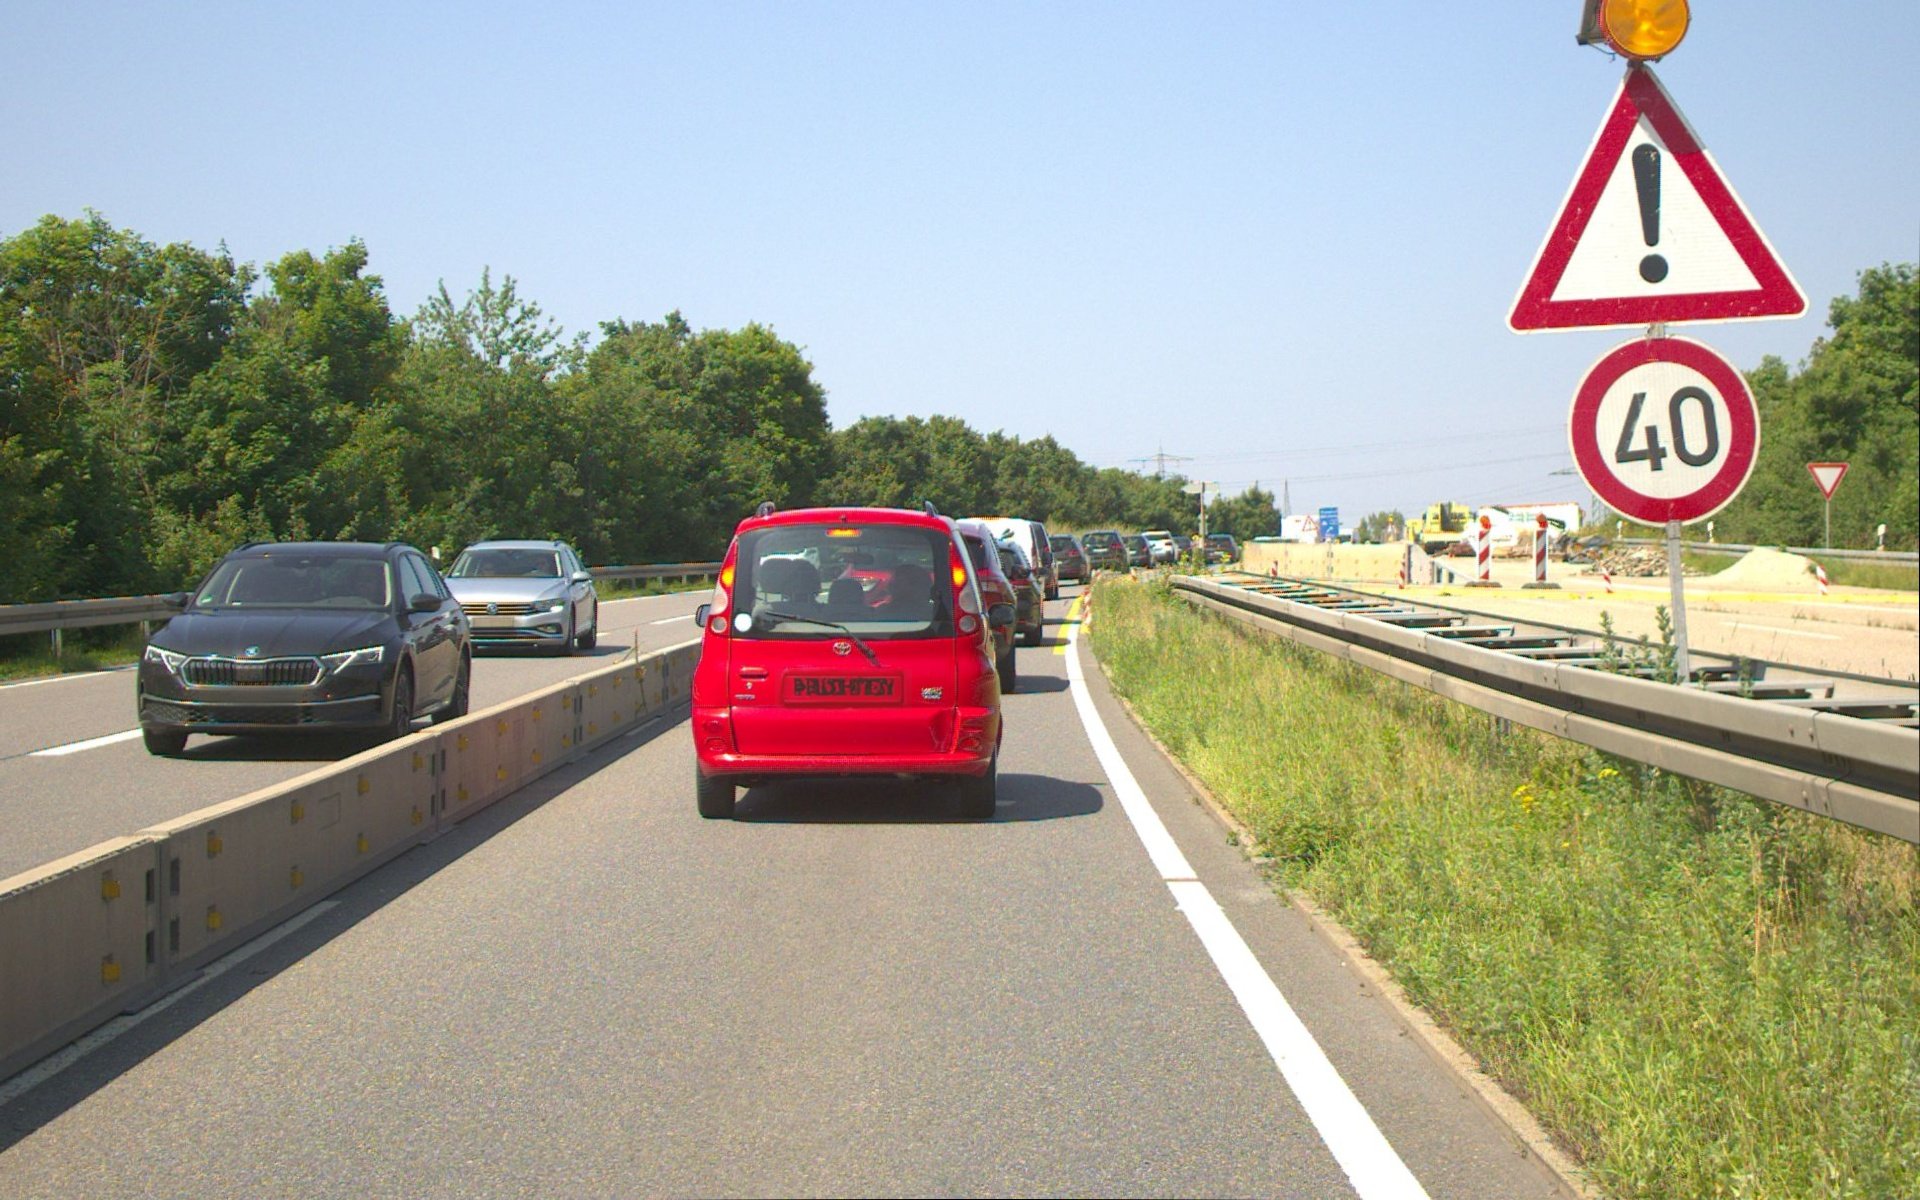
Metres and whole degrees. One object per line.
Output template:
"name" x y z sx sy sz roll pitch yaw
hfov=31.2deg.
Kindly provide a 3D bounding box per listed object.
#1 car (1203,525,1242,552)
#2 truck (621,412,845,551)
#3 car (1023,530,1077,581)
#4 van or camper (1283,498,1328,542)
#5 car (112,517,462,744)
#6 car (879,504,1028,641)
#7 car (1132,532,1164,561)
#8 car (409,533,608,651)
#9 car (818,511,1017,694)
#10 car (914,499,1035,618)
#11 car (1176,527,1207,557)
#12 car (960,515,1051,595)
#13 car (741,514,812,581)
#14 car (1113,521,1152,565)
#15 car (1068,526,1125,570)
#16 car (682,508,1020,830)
"car" 14.829 -3.478 194.293 1.993 1.546 4.000 0 1 1
"truck" -9.163 -4.776 139.598 8.621 5.357 3.389 -1 1 3
"car" 2.579 -1.292 98.491 1.502 1.446 3.325 0 1 1
"van or camper" 22.049 -5.098 219.388 2.328 2.697 4.593 -1 1 -1
"car" -4.761 0.159 24.883 1.822 1.477 4.257 -1 1 -2
"car" -0.045 -0.406 48.106 1.993 1.831 4.000 0 1 1
"car" 8.458 -2.416 154.565 1.421 1.294 2.879 0 1 4
"car" -5.764 -0.141 44.380 1.949 1.417 4.353 -1 1 1
"car" -0.372 -0.016 34.384 1.830 1.716 4.000 0 1 2
"car" 0.212 -0.740 60.119 1.993 1.997 4.000 0 1 -1
"car" 11.503 -2.879 170.847 1.502 1.446 3.170 0 1 4
"car" 1.030 -1.028 77.863 1.993 1.744 4.000 0 1 1
"car" -5.044 -1.464 95.027 1.755 1.759 4.285 -1 1 -1
"car" 6.954 -2.318 139.068 1.502 1.730 3.170 -1 1 2
"car" 4.903 -1.876 123.363 1.994 1.579 4.000 0 1 3
"car" -0.576 0.324 19.857 1.751 1.667 4.000 0 1 0
